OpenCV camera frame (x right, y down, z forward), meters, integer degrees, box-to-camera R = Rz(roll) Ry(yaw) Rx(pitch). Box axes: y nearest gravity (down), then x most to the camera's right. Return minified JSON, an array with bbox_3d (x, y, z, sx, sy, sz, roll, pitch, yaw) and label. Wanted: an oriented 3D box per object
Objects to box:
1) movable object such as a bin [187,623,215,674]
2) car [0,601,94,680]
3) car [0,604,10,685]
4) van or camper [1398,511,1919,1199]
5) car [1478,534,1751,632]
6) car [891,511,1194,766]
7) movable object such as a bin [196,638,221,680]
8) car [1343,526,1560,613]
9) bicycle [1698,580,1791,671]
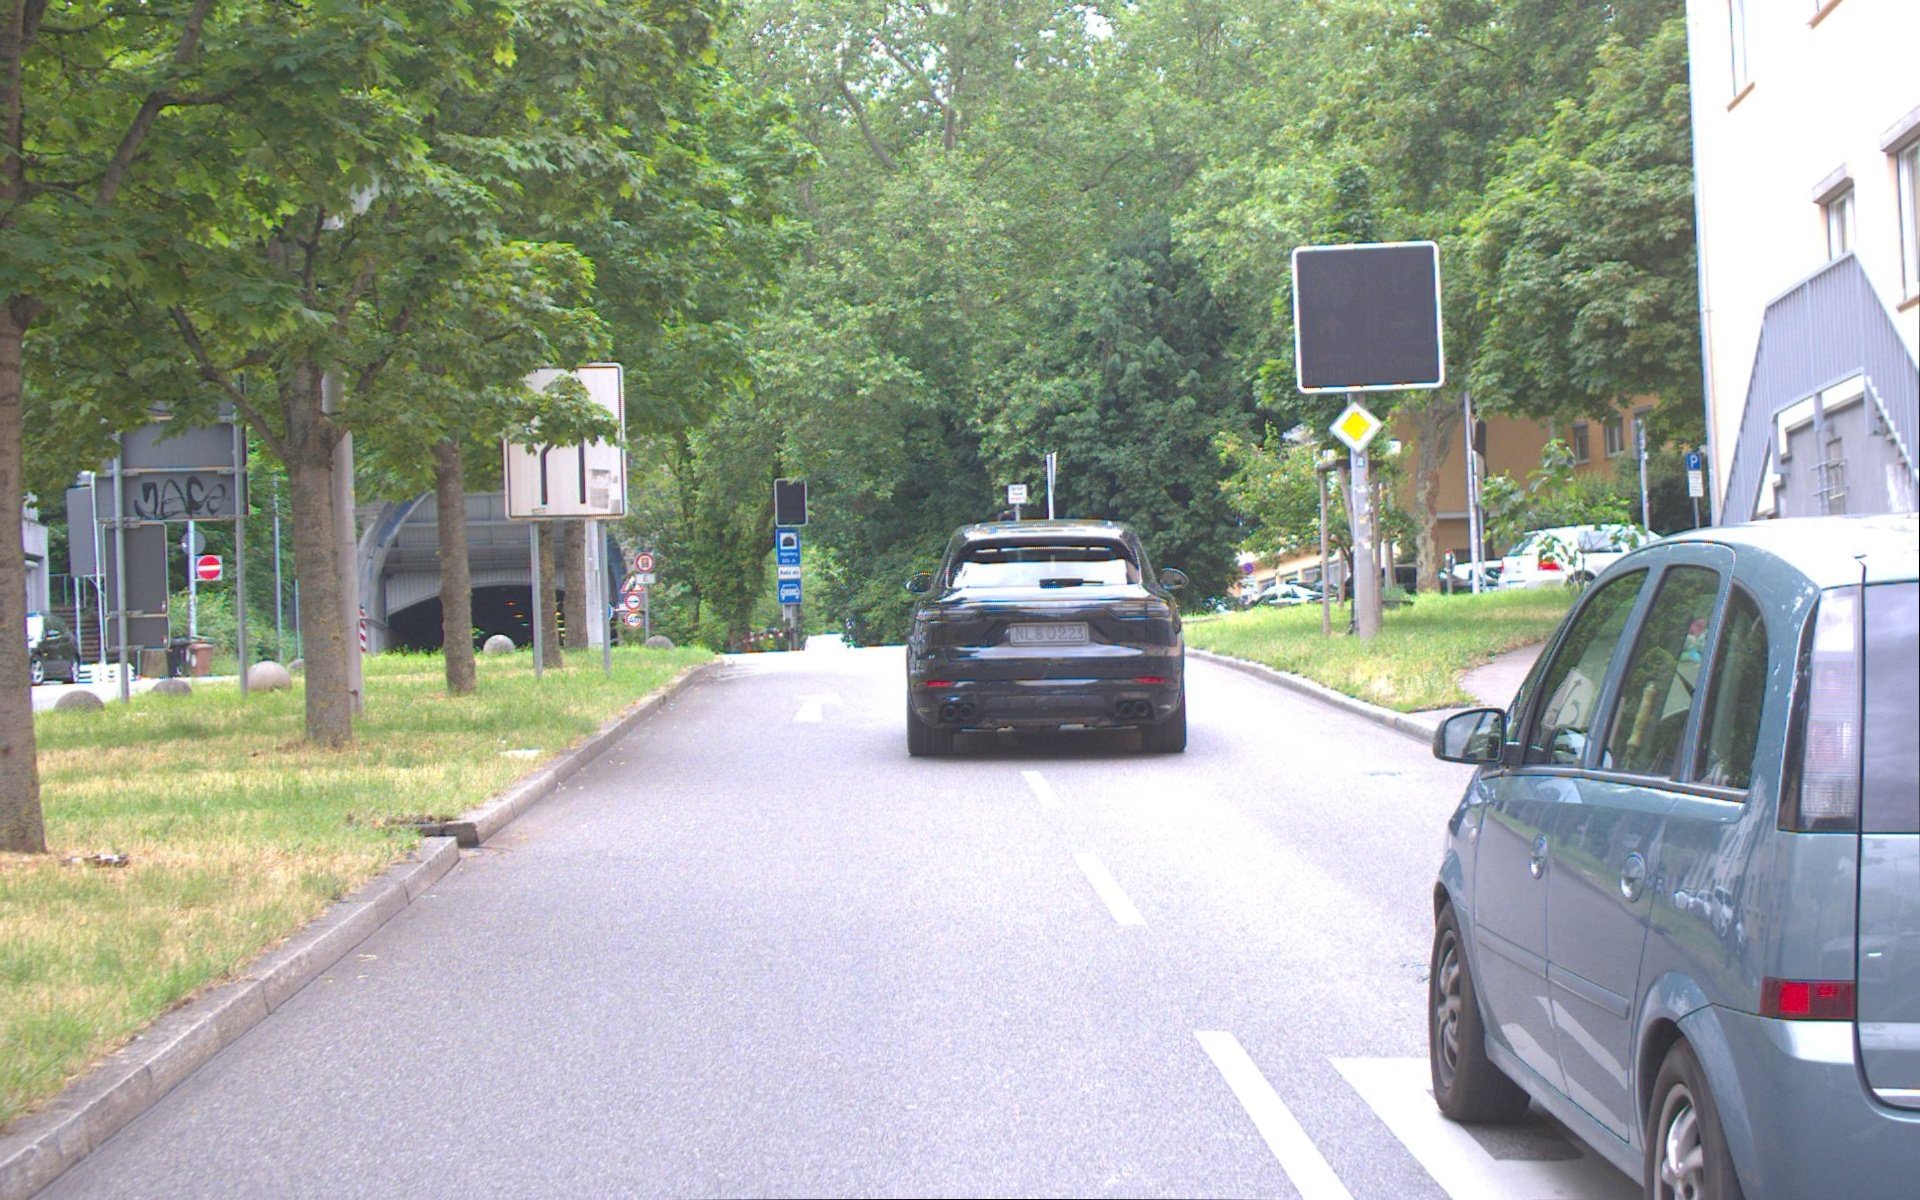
[{"bbox_3d":[-17.980,1.156,81.426,0.604,1.182,0.492,1,-2,-16],"label":"movable object such as a bin"},{"bbox_3d":[-17.578,0.766,63.633,1.993,1.396,4.518,-2,0,-1],"label":"car"},{"bbox_3d":[-17.681,0.824,58.799,1.993,1.418,4.212,-2,0,-5],"label":"car"},{"bbox_3d":[2.114,0.614,7.561,1.735,1.572,3.646,0,1,-2],"label":"van or camper"},{"bbox_3d":[11.159,-0.303,58.738,4.116,1.423,1.863,-3,1,-12],"label":"car"},{"bbox_3d":[0.562,0.270,25.484,1.993,1.647,4.000,-3,0,0],"label":"car"},{"bbox_3d":[-17.684,1.385,80.895,0.515,0.964,0.444,1,-2,-16],"label":"movable object such as a bin"},{"bbox_3d":[9.158,-0.576,63.882,1.998,1.413,3.990,-2,1,43],"label":"car"},{"bbox_3d":[7.065,0.220,31.012,0.488,0.770,1.558,-3,0,2],"label":"bicycle"}]
